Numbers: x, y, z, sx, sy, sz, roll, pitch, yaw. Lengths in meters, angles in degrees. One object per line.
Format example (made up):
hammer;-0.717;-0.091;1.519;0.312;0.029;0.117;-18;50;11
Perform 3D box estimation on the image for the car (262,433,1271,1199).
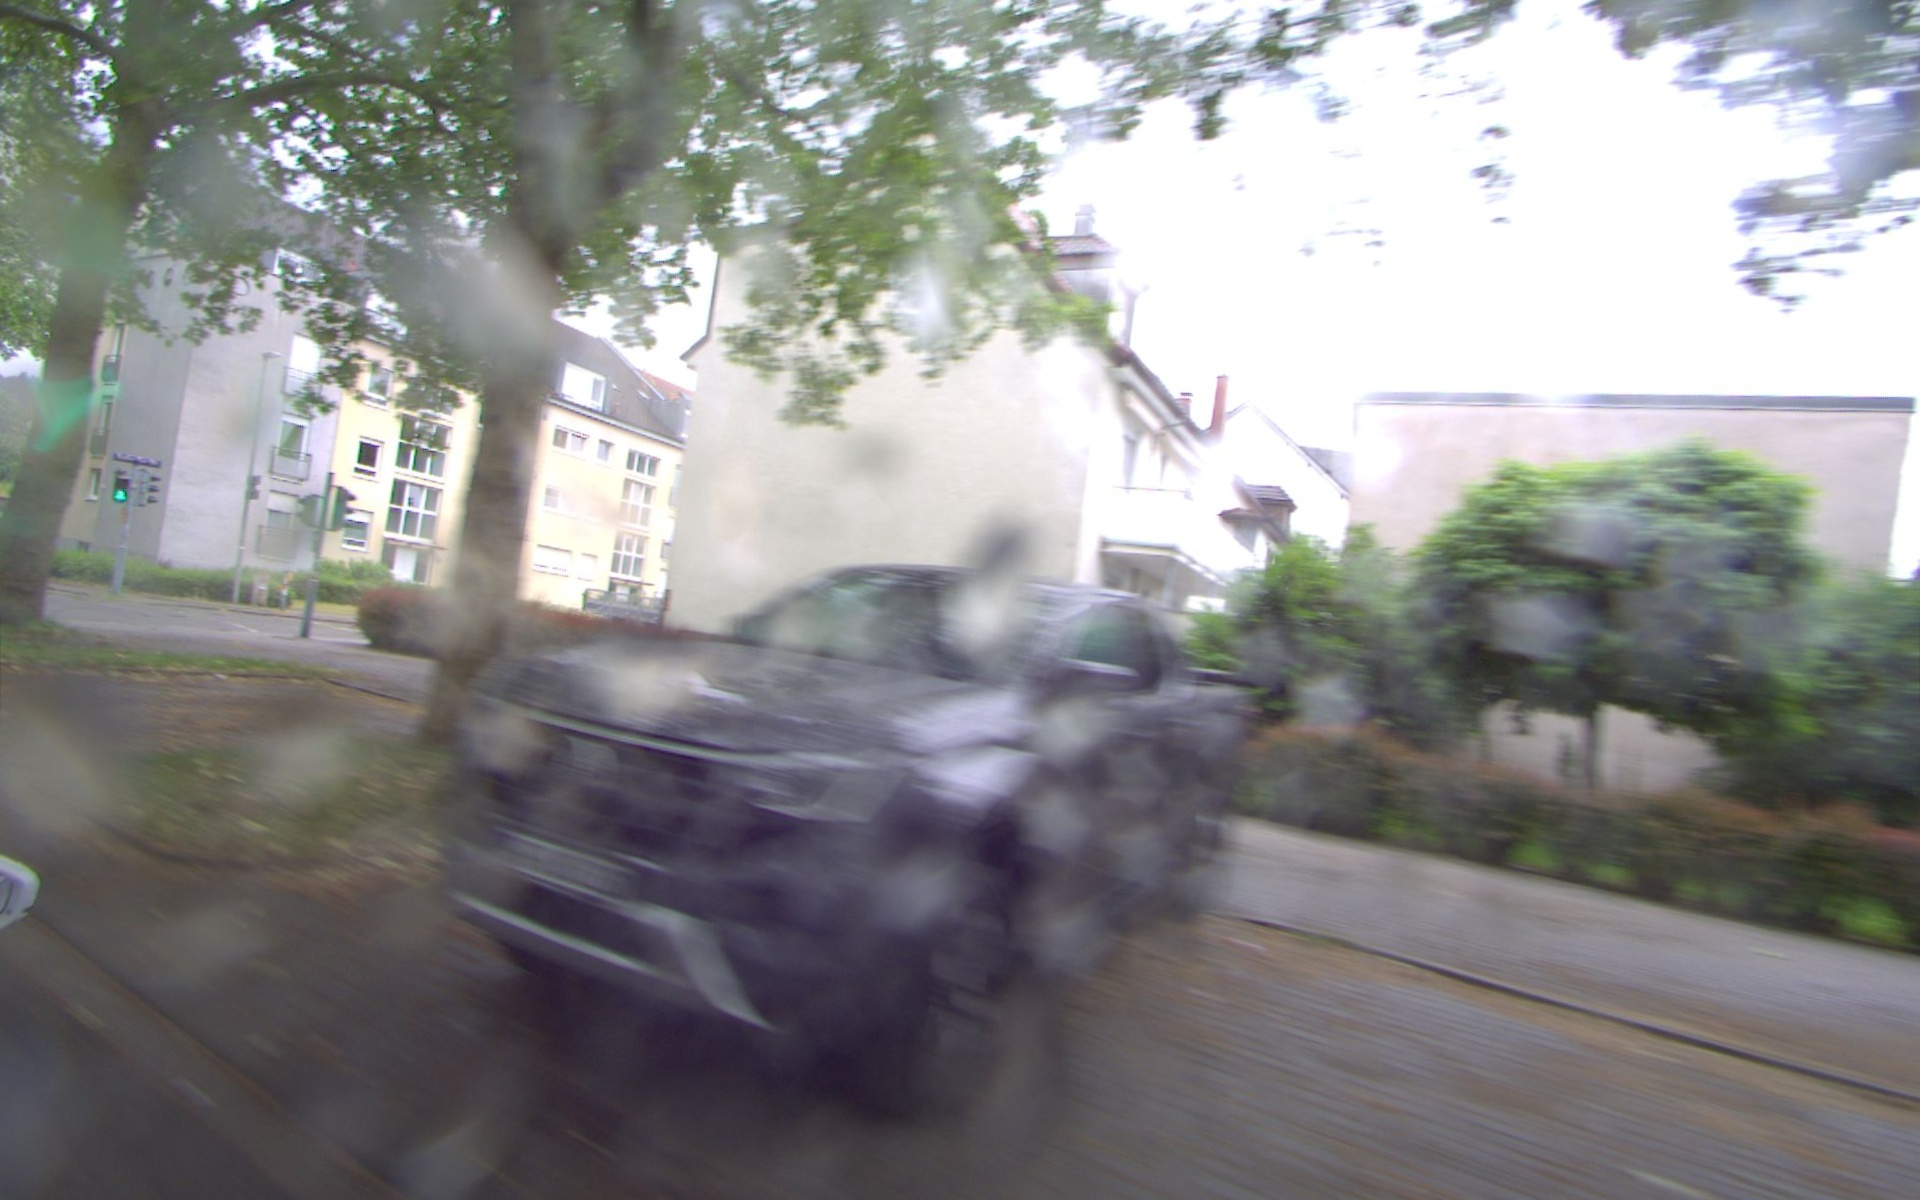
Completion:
car;0.039;0.716;4.933;1.813;1.828;5.352;7;-1;27
